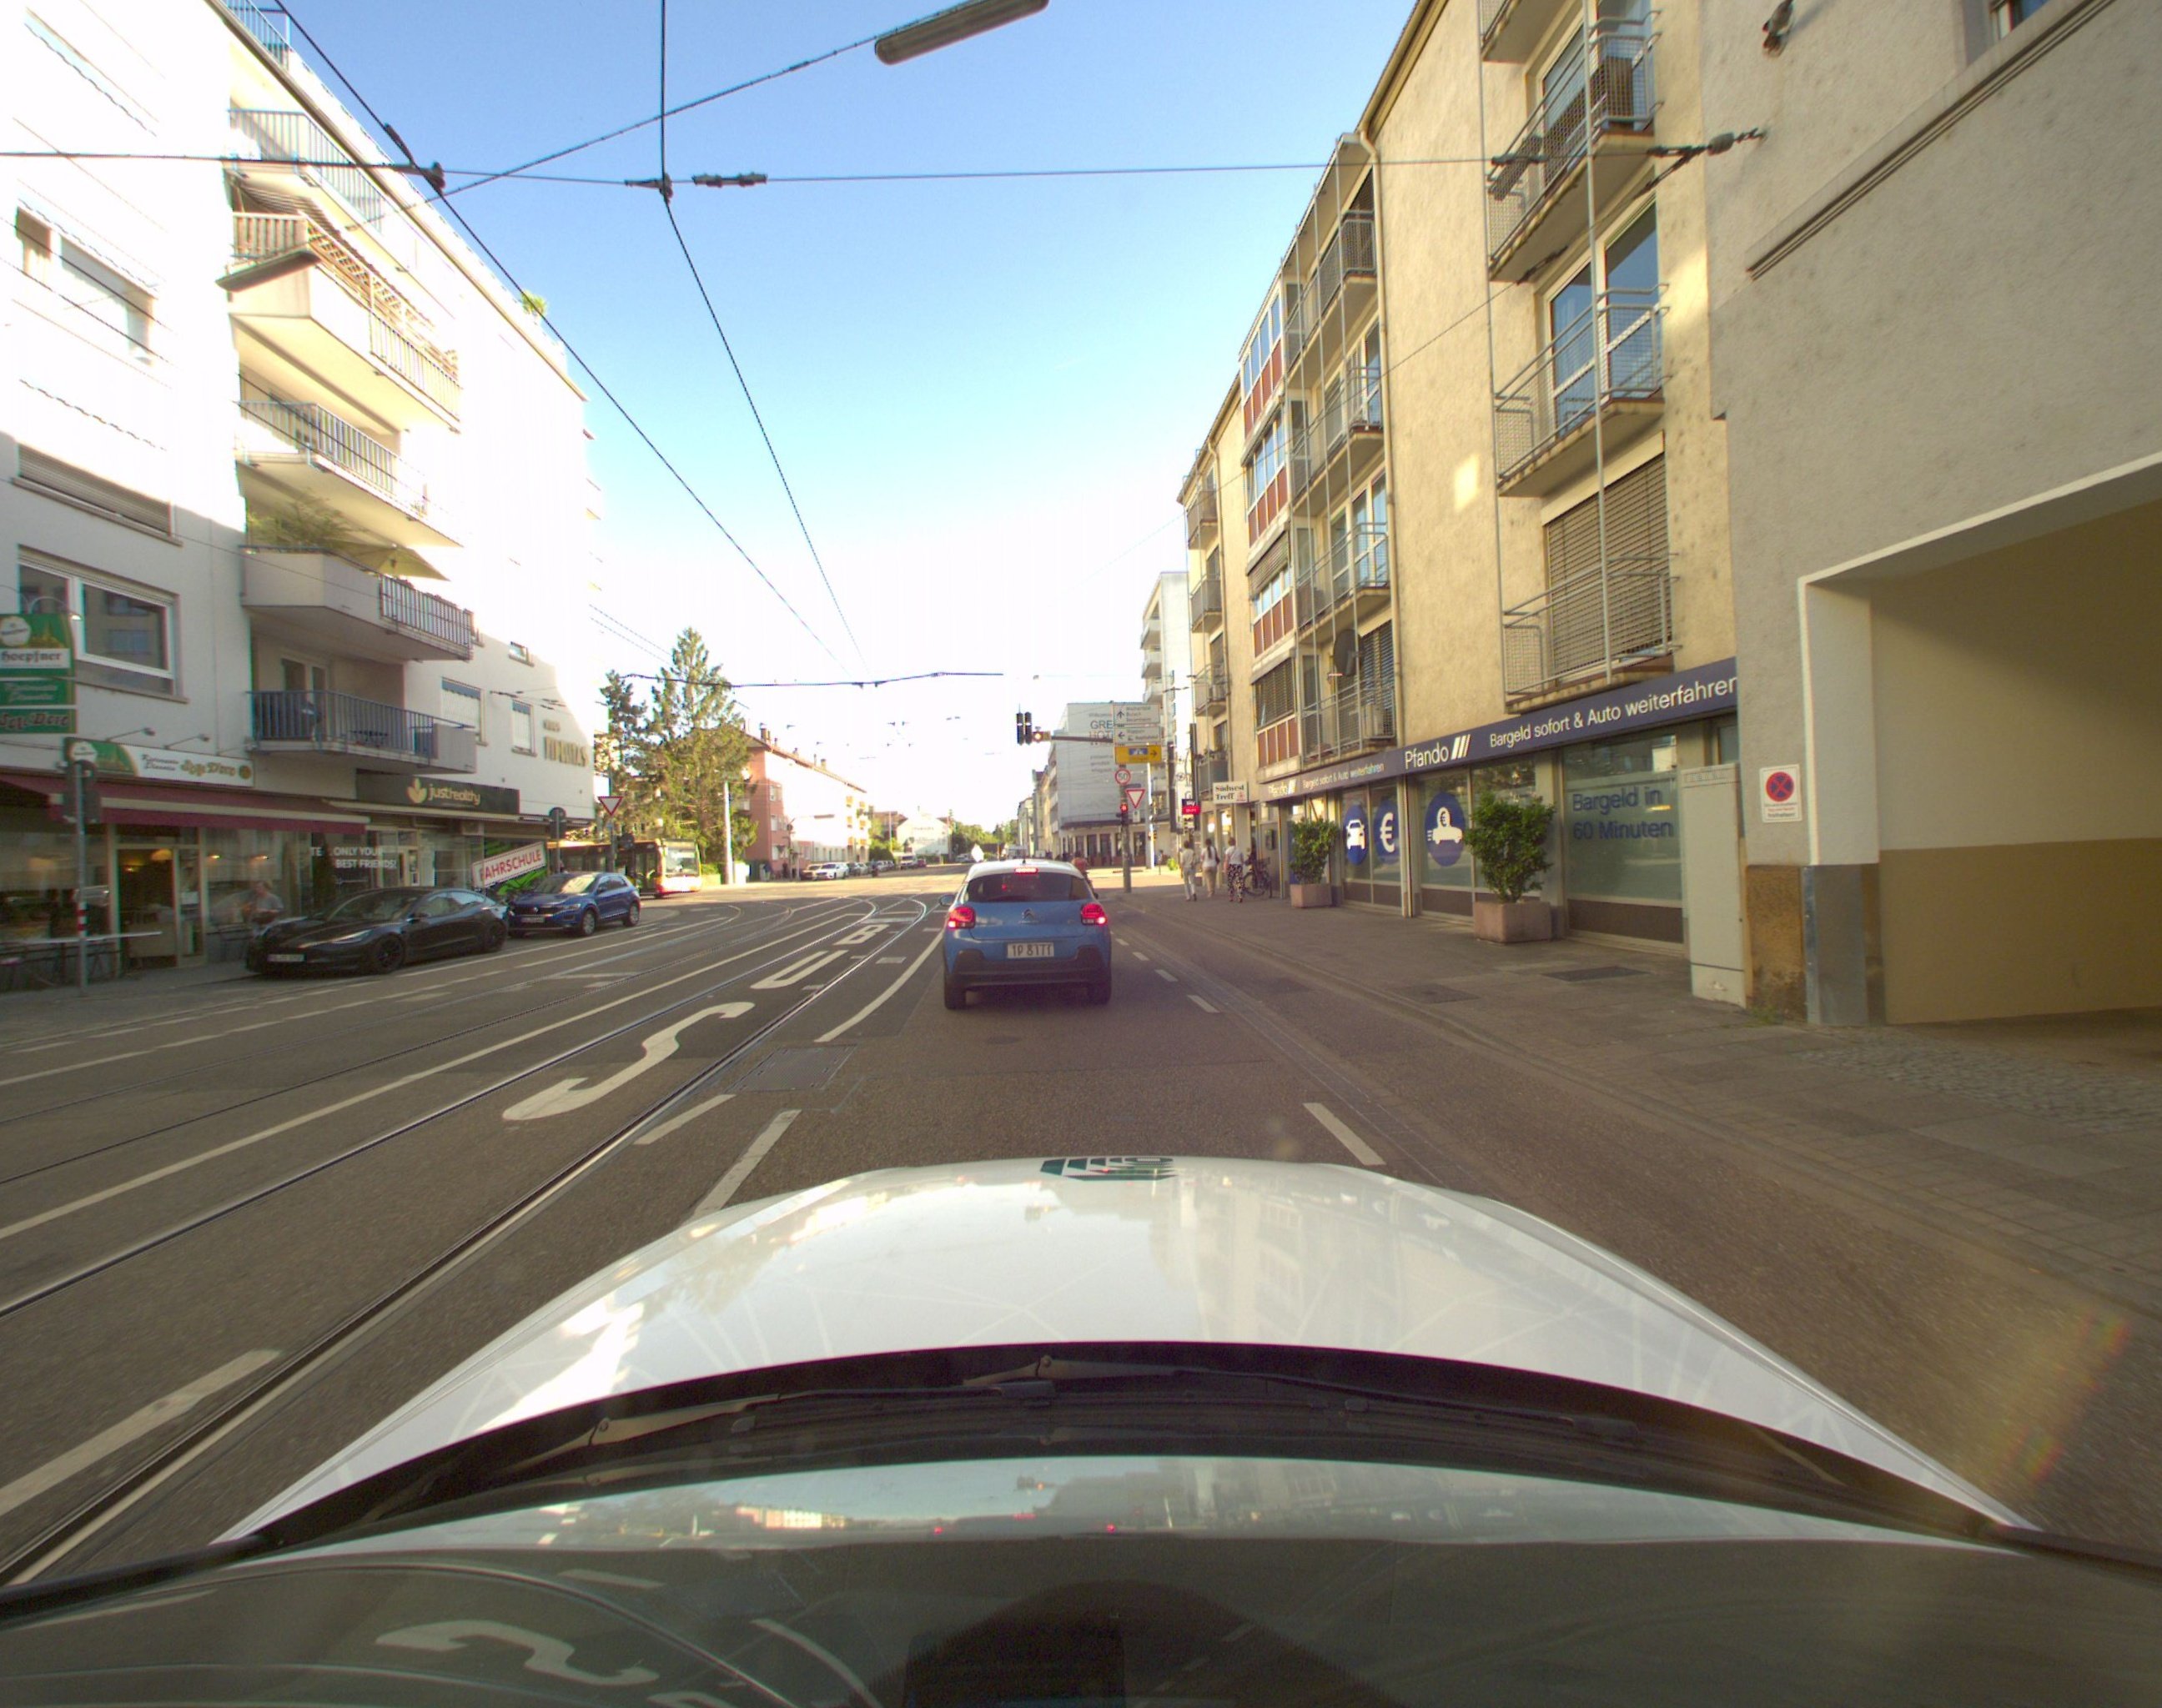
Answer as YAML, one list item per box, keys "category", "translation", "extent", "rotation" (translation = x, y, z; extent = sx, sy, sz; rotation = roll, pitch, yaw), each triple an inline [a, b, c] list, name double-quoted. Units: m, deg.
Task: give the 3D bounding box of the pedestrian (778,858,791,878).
- category: "pedestrian"
  translation: [-26.615, 1.260, 73.084]
  extent: [0.841, 1.690, 0.737]
  rotation: [-2, 0, 0]

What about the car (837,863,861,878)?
- category: "car"
  translation: [-25.718, 1.786, 90.447]
  extent: [1.909, 1.497, 3.991]
  rotation: [-2, 0, -6]

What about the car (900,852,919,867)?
- category: "car"
  translation: [-26.020, 0.821, 123.791]
  extent: [2.204, 2.251, 4.667]
  rotation: [-2, 0, -6]

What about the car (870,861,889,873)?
- category: "car"
  translation: [-27.303, 1.737, 110.494]
  extent: [1.909, 1.497, 3.991]
  rotation: [-2, 0, -6]

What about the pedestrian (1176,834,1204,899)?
- category: "pedestrian"
  translation: [2.924, 0.326, 21.847]
  extent: [0.540, 1.672, 0.623]
  rotation: [-4, 2, -4]

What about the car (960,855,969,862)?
- category: "car"
  translation: [-27.353, 1.100, 191.459]
  extent: [2.019, 1.525, 3.992]
  rotation: [-3, 0, -6]

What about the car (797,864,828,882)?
- category: "car"
  translation: [-24.171, 1.683, 73.381]
  extent: [1.910, 1.433, 3.989]
  rotation: [-2, 0, -8]

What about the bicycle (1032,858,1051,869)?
- category: "bicycle"
  translation: [-3.575, 0.863, 73.894]
  extent: [1.715, 0.957, 0.701]
  rotation: [-2, 0, -1]

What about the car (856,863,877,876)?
- category: "car"
  translation: [-26.919, 1.952, 102.105]
  extent: [1.909, 1.497, 3.991]
  rotation: [-2, 0, -6]

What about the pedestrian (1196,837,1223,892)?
- category: "pedestrian"
  translation: [3.644, 0.292, 23.176]
  extent: [0.540, 1.507, 0.610]
  rotation: [-4, 2, -4]

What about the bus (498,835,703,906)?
- category: "bus"
  translation: [-24.381, 0.868, 41.295]
  extent: [10.082, 3.158, 2.743]
  rotation: [-2, 0, 17]

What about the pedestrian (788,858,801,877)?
- category: "pedestrian"
  translation: [-25.743, 1.240, 73.232]
  extent: [0.841, 1.690, 0.737]
  rotation: [-2, 0, 0]

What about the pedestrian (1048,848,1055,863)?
- category: "pedestrian"
  translation: [-3.136, 0.173, 86.488]
  extent: [0.492, 1.556, 0.645]
  rotation: [-2, 0, -11]

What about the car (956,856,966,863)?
- category: "car"
  translation: [-25.637, 1.171, 173.919]
  extent: [2.019, 1.525, 3.991]
  rotation: [-2, 0, -6]

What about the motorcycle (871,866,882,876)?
- category: "motorcycle"
  translation: [-18.119, 1.479, 72.106]
  extent: [0.614, 0.864, 1.669]
  rotation: [-2, 0, -2]

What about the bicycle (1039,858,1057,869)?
- category: "bicycle"
  translation: [-2.875, 0.835, 71.507]
  extent: [1.499, 0.957, 0.701]
  rotation: [-2, 0, -1]

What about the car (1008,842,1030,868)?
- category: "car"
  translation: [-5.980, 0.095, 77.823]
  extent: [1.991, 2.325, 3.992]
  rotation: [-1, 0, -5]

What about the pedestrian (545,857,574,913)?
- category: "pedestrian"
  translation: [-19.056, 1.111, 29.749]
  extent: [0.686, 2.013, 0.485]
  rotation: [-2, 0, -8]

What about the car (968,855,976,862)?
- category: "car"
  translation: [-29.438, 1.258, 219.858]
  extent: [1.995, 1.684, 3.984]
  rotation: [-3, 0, -11]

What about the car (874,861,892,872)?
- category: "car"
  translation: [-28.041, 1.776, 115.448]
  extent: [1.909, 1.497, 3.991]
  rotation: [-2, 0, -6]

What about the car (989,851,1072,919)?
- category: "car"
  translation: [-1.159, 0.660, 19.596]
  extent: [1.734, 1.420, 3.997]
  rotation: [-2, 0, -2]

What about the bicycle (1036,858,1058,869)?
- category: "bicycle"
  translation: [-3.004, 0.841, 72.561]
  extent: [1.868, 0.957, 0.701]
  rotation: [-2, 0, -1]

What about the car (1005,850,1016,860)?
- category: "car"
  translation: [-11.817, 0.251, 136.539]
  extent: [1.686, 1.618, 3.993]
  rotation: [-1, 0, -4]

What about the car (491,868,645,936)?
- category: "car"
  translation: [-12.989, 1.152, 20.921]
  extent: [1.742, 1.509, 3.991]
  rotation: [-1, -1, -6]

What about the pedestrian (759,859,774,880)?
- category: "pedestrian"
  translation: [-26.061, 1.263, 67.533]
  extent: [0.841, 1.690, 0.737]
  rotation: [-2, 0, 0]

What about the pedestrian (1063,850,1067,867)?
- category: "pedestrian"
  translation: [-1.485, 0.412, 75.717]
  extent: [0.284, 1.556, 0.304]
  rotation: [-2, 0, -11]

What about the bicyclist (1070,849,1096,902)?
- category: "bicyclist"
  translation: [0.061, 0.672, 25.944]
  extent: [0.724, 1.646, 0.789]
  rotation: [-2, 0, -2]

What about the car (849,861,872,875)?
- category: "car"
  translation: [-26.135, 1.648, 96.568]
  extent: [1.909, 1.497, 3.991]
  rotation: [-2, 0, -6]

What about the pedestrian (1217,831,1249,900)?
- category: "pedestrian"
  translation: [3.815, 0.282, 20.499]
  extent: [0.540, 1.672, 0.649]
  rotation: [-4, 0, -4]

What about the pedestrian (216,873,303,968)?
- category: "pedestrian"
  translation: [-14.202, 1.122, 14.105]
  extent: [0.696, 1.548, 0.721]
  rotation: [-2, 1, -2]

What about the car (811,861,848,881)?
- category: "car"
  translation: [-21.126, 1.394, 68.450]
  extent: [1.845, 1.574, 4.397]
  rotation: [-2, 0, -2]

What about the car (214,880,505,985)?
- category: "car"
  translation: [-12.744, 1.285, 14.827]
  extent: [1.696, 1.509, 4.304]
  rotation: [-1, -1, -5]

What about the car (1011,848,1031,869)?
- category: "car"
  translation: [-5.365, 0.408, 72.933]
  extent: [1.730, 1.750, 3.207]
  rotation: [-1, 0, -5]

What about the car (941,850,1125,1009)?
- category: "car"
  translation: [-0.760, 0.708, 9.740]
  extent: [1.744, 1.462, 3.987]
  rotation: [-1, 0, -9]

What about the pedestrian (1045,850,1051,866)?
- category: "pedestrian"
  translation: [-3.230, 0.359, 80.164]
  extent: [0.491, 1.556, 0.383]
  rotation: [-2, 0, -6]

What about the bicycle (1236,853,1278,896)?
- category: "bicycle"
  translation: [4.666, 0.529, 21.670]
  extent: [0.529, 1.072, 1.807]
  rotation: [-2, 0, -5]

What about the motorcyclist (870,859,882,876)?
- category: "motorcyclist"
  translation: [-18.115, 1.191, 71.952]
  extent: [0.717, 1.378, 0.911]
  rotation: [-2, 0, -2]

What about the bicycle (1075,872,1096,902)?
- category: "bicycle"
  translation: [0.134, 1.052, 26.353]
  extent: [0.498, 0.864, 1.746]
  rotation: [-2, 0, -4]

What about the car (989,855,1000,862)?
- category: "car"
  translation: [-16.729, 0.878, 157.303]
  extent: [1.754, 1.259, 3.820]
  rotation: [-2, 0, -9]

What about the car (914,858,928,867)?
- category: "car"
  translation: [-29.298, 1.559, 149.035]
  extent: [2.019, 1.525, 3.991]
  rotation: [-2, 0, -6]
